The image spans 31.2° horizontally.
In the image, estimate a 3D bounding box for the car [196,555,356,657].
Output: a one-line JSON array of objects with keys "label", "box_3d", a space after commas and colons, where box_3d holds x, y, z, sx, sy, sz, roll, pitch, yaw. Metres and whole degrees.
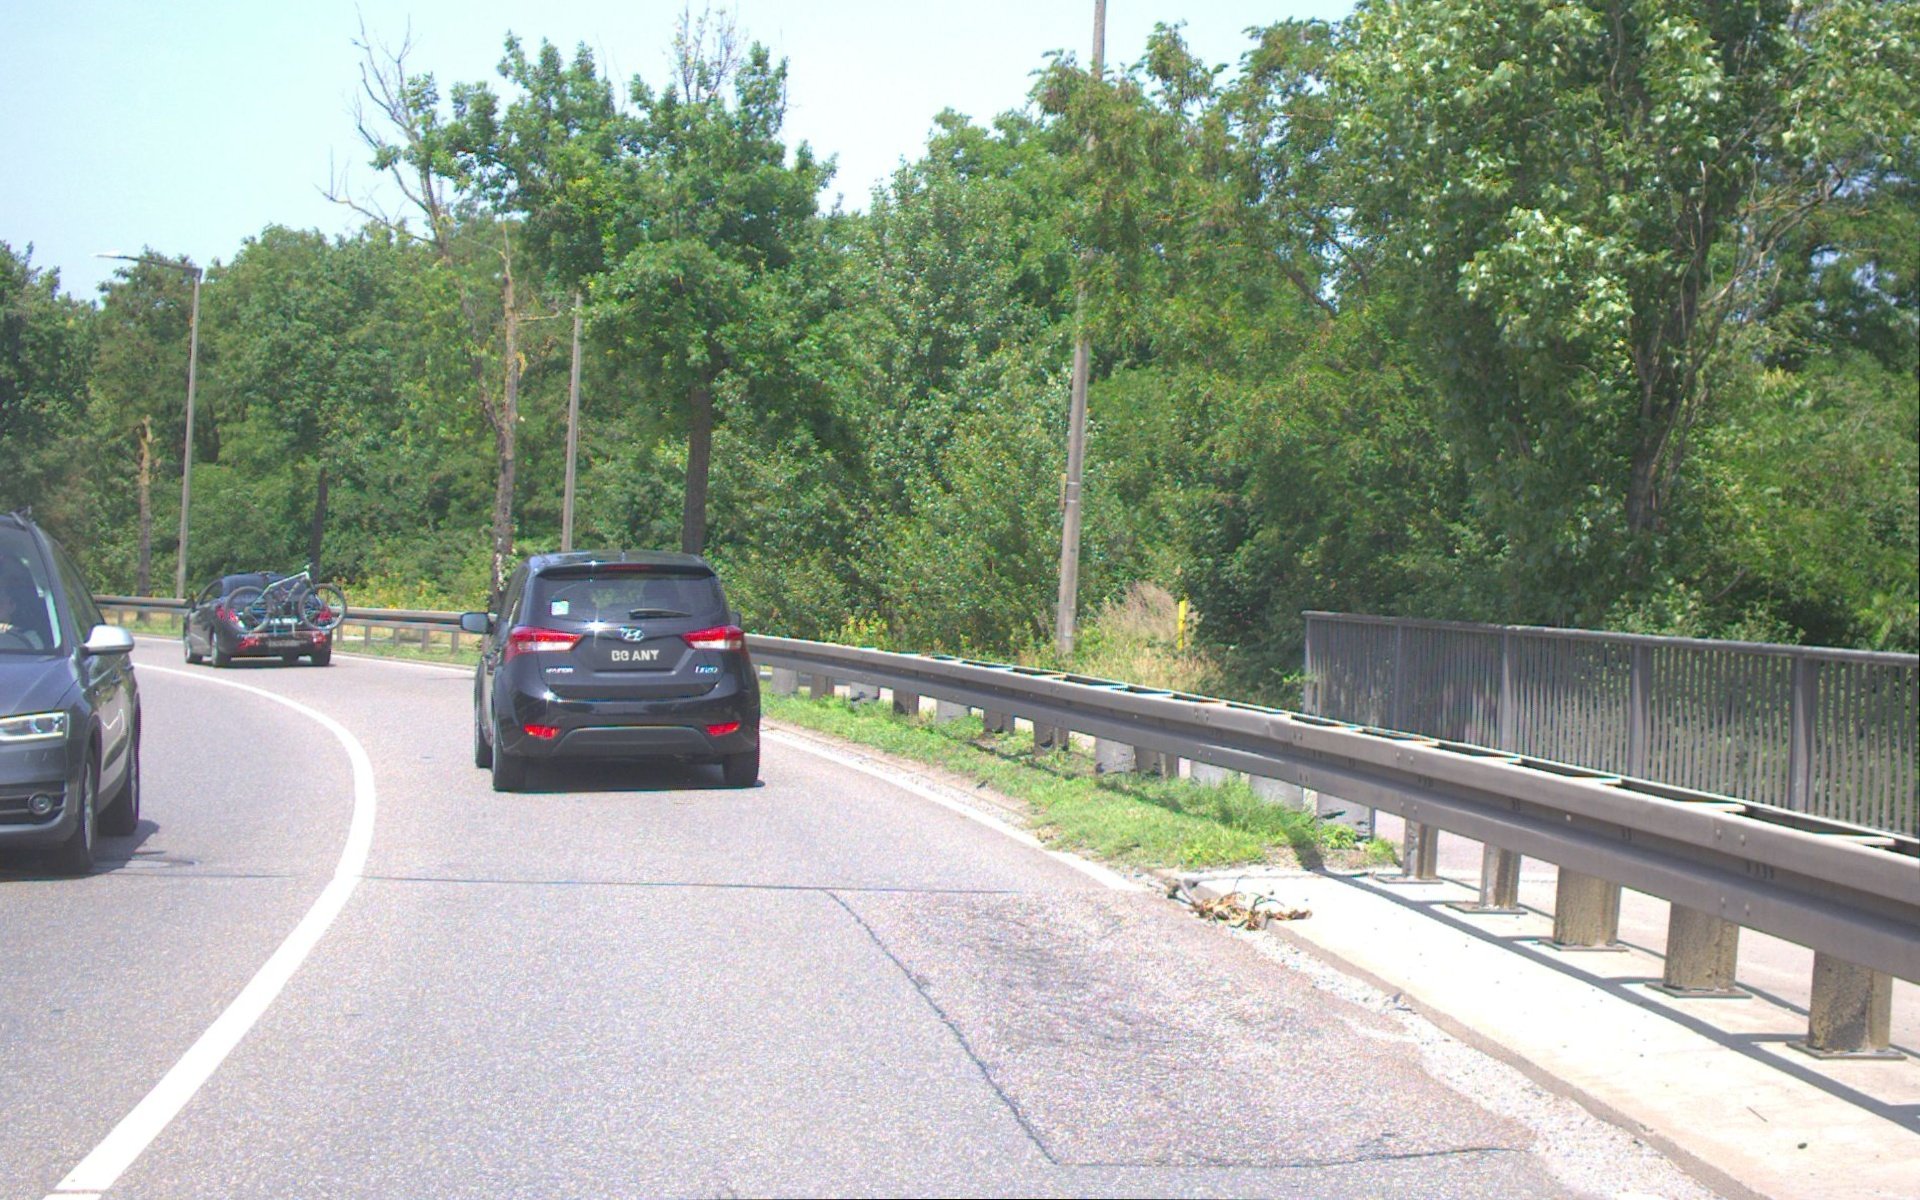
[{"label": "car", "box_3d": [-10.499, 0.065, 52.568, 2.011, 1.424, 3.778, 0, 2, -17]}]

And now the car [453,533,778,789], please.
[{"label": "car", "box_3d": [-2.470, 0.356, 23.831, 1.921, 1.568, 3.893, 0, 2, -10]}]

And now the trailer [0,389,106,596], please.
[{"label": "trailer", "box_3d": [-22.635, -2.455, 77.794, 3.569, 4.369, 11.442, 0, 2, -29]}]

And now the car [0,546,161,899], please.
[{"label": "car", "box_3d": [-5.210, 0.522, 17.628, 1.822, 1.531, 4.196, 1, 2, -8]}]
